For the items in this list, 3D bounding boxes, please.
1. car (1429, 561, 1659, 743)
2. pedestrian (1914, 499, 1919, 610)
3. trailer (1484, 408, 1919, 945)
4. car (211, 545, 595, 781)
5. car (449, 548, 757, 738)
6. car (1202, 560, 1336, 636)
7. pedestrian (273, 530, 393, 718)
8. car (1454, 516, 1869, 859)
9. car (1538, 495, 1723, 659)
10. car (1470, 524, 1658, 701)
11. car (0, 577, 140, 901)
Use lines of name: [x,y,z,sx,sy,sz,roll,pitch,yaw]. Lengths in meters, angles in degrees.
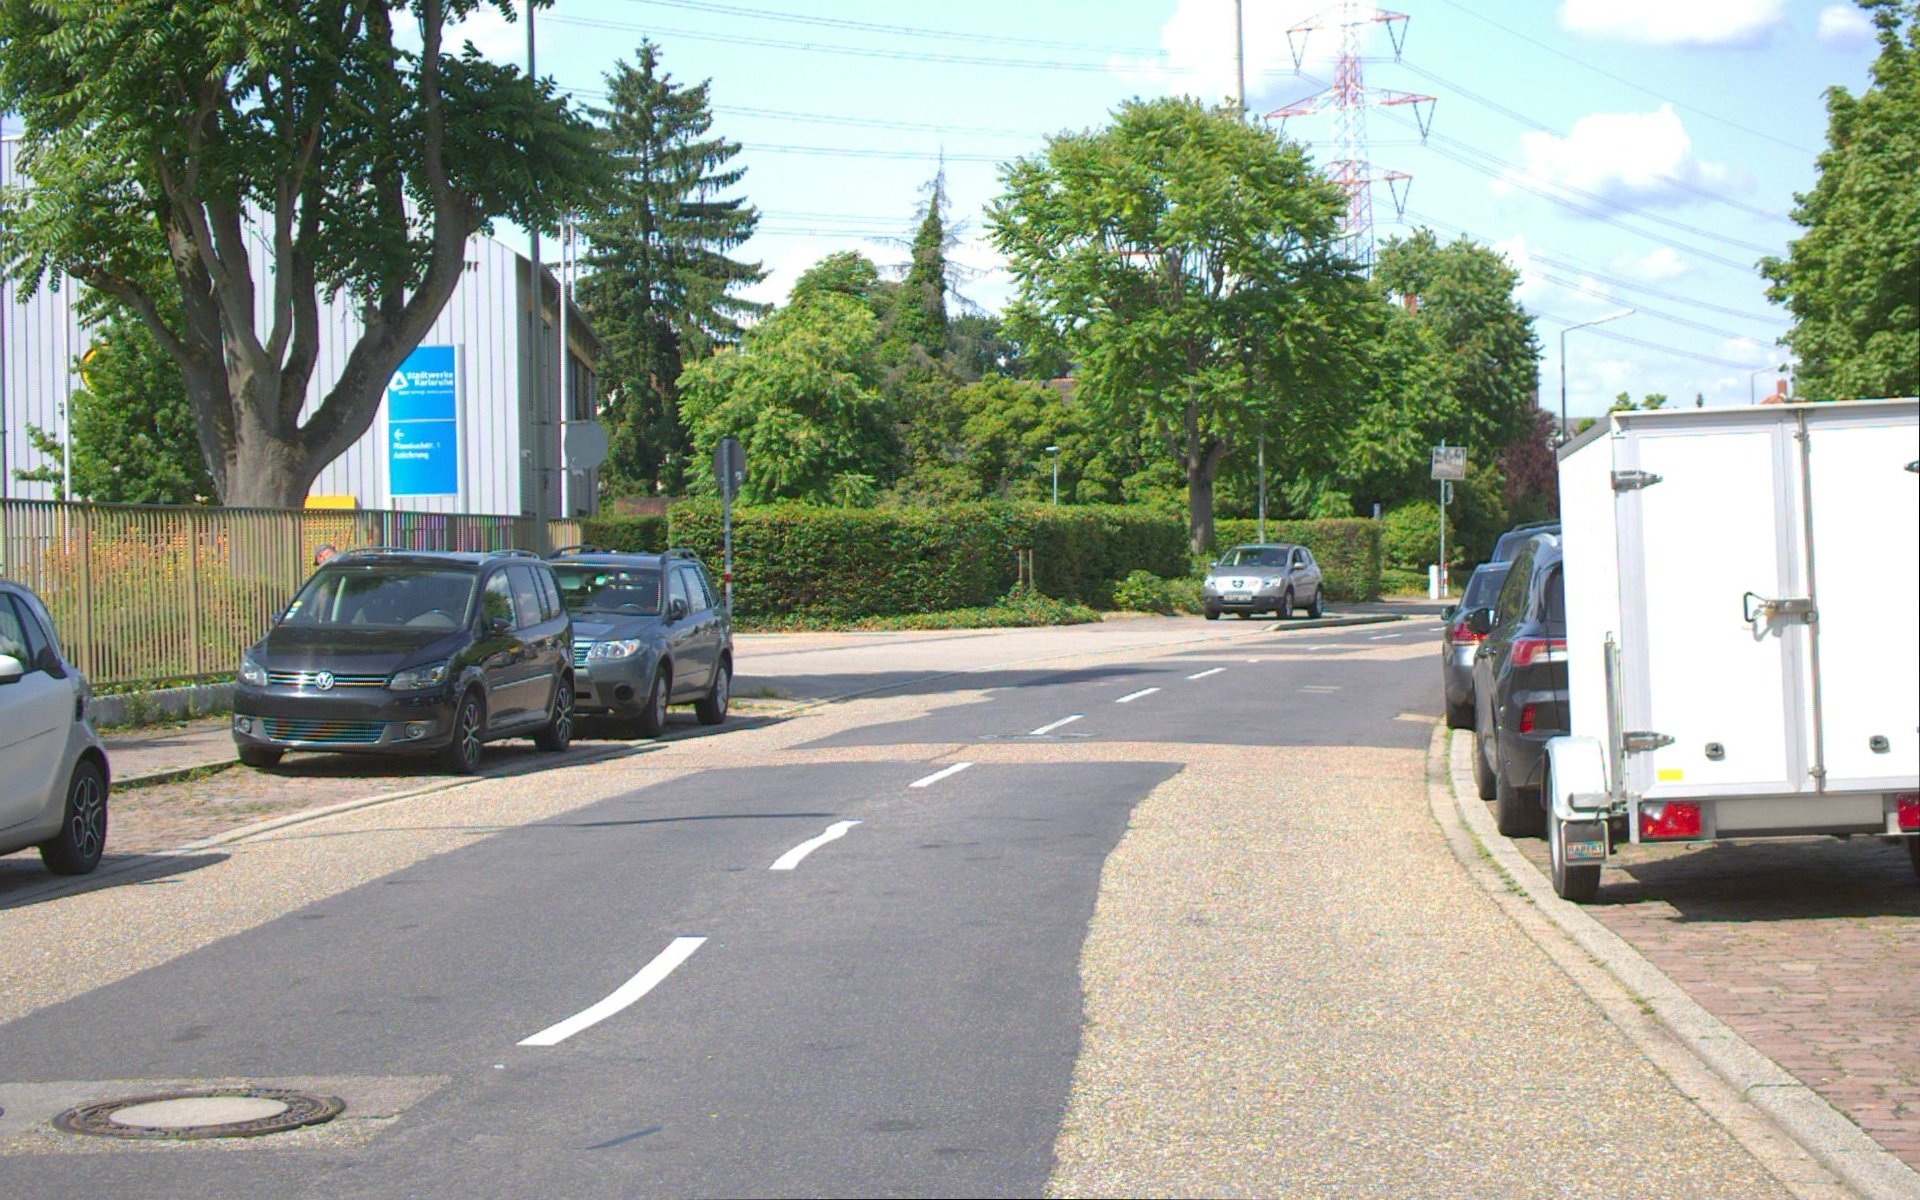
car: [5.262,0.421,31.333,1.842,1.455,4.867,-3,0,8]
pedestrian: [4.843,0.338,15.742,0.727,1.641,0.580,-3,1,4]
trailer: [3.466,0.285,15.688,1.746,2.060,3.947,-4,0,5]
car: [-4.245,0.433,26.879,1.776,1.676,4.229,1,1,8]
car: [-3.277,0.359,32.483,1.799,1.645,4.688,1,1,8]
car: [6.552,-0.055,72.531,1.759,1.568,4.473,0,0,20]
pedestrian: [-5.980,0.222,32.810,0.829,1.755,0.845,1,0,15]
car: [3.931,0.435,19.983,1.861,1.677,4.709,-3,0,6]
car: [11.032,-0.358,56.181,2.159,2.456,6.634,-2,0,17]
car: [6.780,0.119,38.338,1.851,1.760,5.075,-3,0,11]
car: [-5.272,0.656,16.705,1.608,1.518,3.074,0,0,5]
